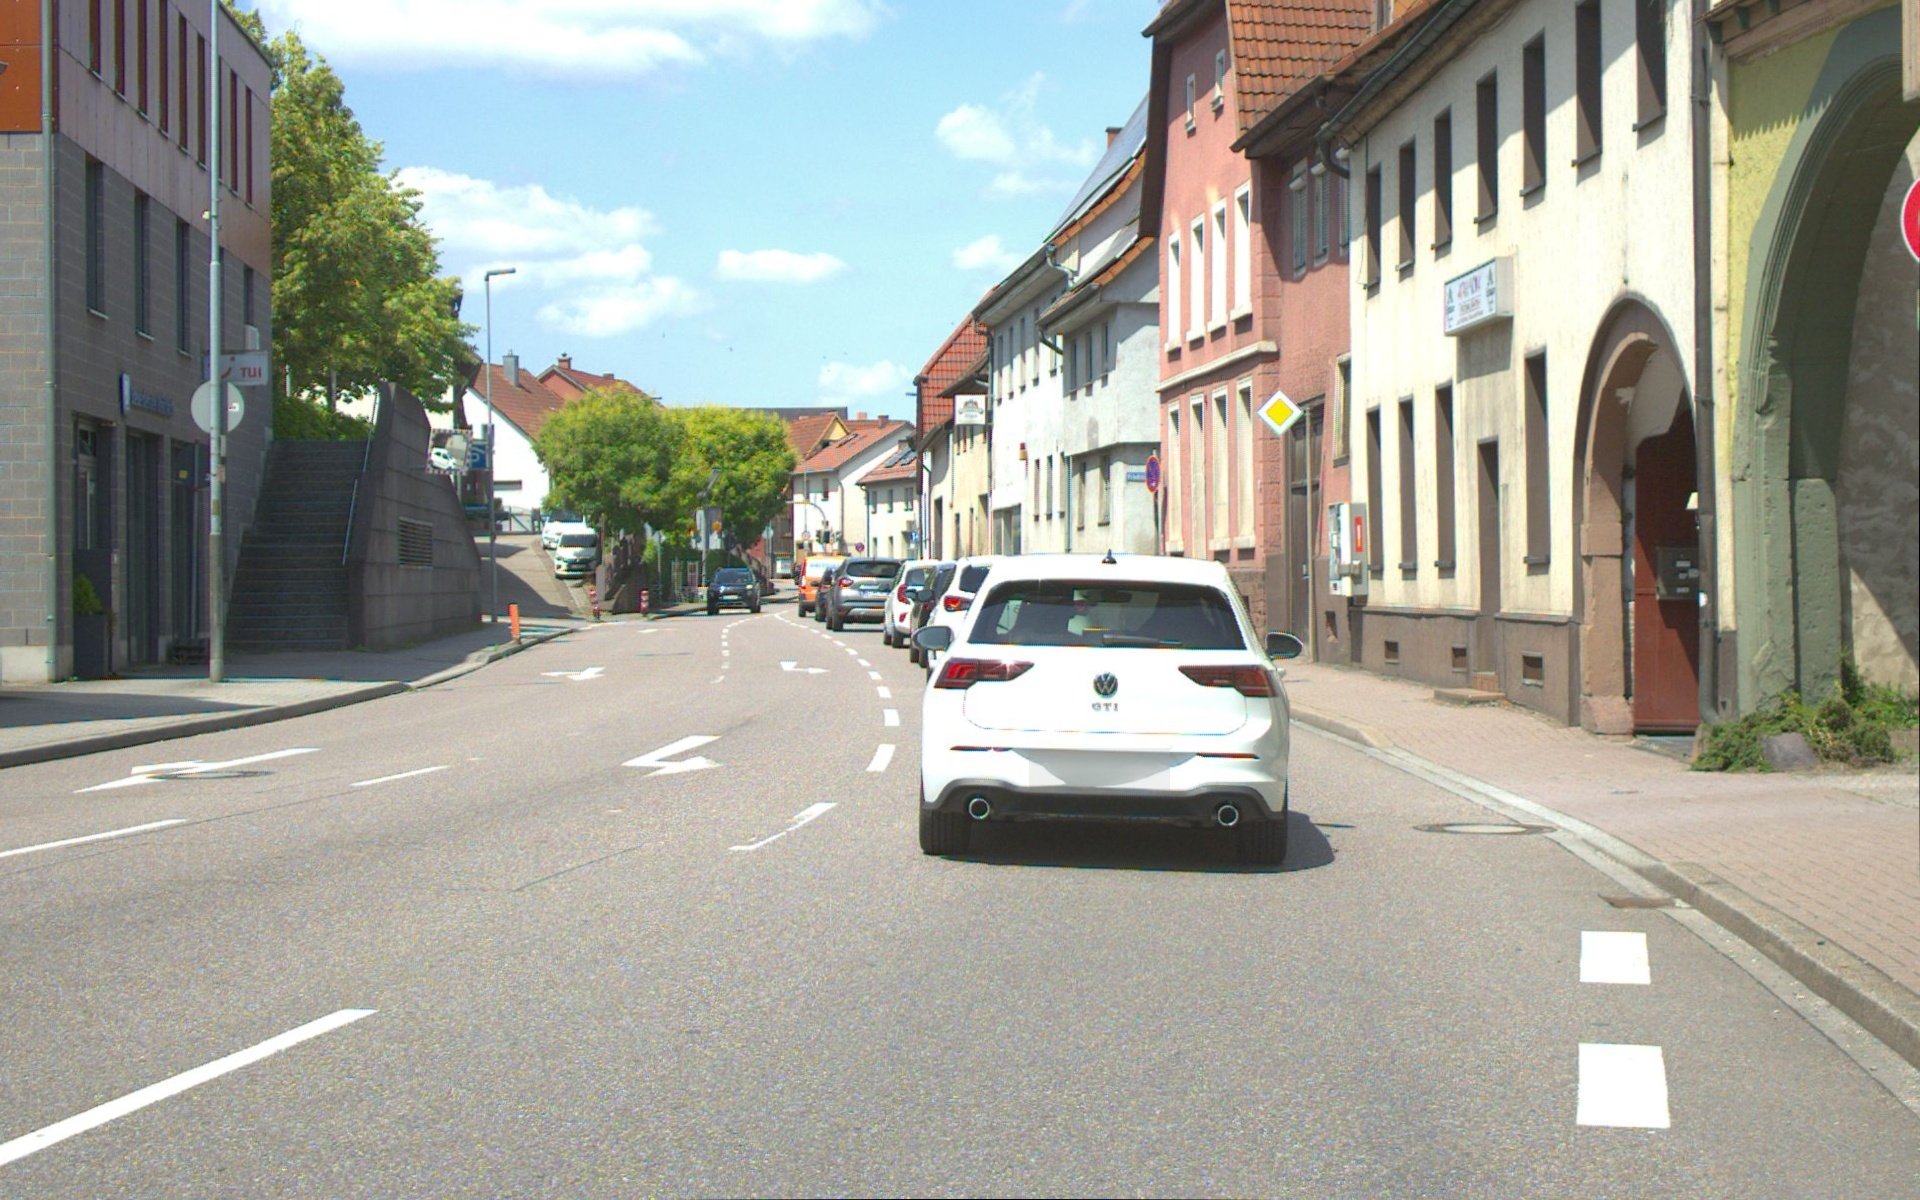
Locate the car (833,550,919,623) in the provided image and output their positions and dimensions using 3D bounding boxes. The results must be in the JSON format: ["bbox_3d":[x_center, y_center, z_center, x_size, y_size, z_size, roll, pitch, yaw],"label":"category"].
[{"bbox_3d":[-1.830,-0.301,73.793,1.775,1.533,4.000,0,1,-2],"label":"car"}]

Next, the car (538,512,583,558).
[{"bbox_3d":[-15.017,-2.461,129.293,1.576,1.357,3.857,0,6,-5],"label":"car"}]

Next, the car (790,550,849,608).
[{"bbox_3d":[-4.380,-0.651,106.475,1.775,1.759,4.001,0,1,-3],"label":"car"}]

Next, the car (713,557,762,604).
[{"bbox_3d":[-7.831,-0.701,121.155,1.669,1.652,4.018,0,1,-3],"label":"car"}]

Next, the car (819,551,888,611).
[{"bbox_3d":[-2.819,-0.506,90.747,1.775,1.533,4.000,0,1,-2],"label":"car"}]

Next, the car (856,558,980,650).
[{"bbox_3d":[-0.755,0.061,58.840,1.807,1.462,4.001,2,0,-5],"label":"car"}]

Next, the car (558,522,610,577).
[{"bbox_3d":[-12.886,-1.753,118.029,1.693,1.537,3.857,0,6,-5],"label":"car"}]

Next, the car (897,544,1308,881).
[{"bbox_3d":[0.699,0.505,17.492,1.808,1.462,4.000,2,0,2],"label":"car"}]

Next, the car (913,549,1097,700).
[{"bbox_3d":[0.439,0.245,36.467,1.808,1.462,4.000,2,0,0],"label":"car"}]
